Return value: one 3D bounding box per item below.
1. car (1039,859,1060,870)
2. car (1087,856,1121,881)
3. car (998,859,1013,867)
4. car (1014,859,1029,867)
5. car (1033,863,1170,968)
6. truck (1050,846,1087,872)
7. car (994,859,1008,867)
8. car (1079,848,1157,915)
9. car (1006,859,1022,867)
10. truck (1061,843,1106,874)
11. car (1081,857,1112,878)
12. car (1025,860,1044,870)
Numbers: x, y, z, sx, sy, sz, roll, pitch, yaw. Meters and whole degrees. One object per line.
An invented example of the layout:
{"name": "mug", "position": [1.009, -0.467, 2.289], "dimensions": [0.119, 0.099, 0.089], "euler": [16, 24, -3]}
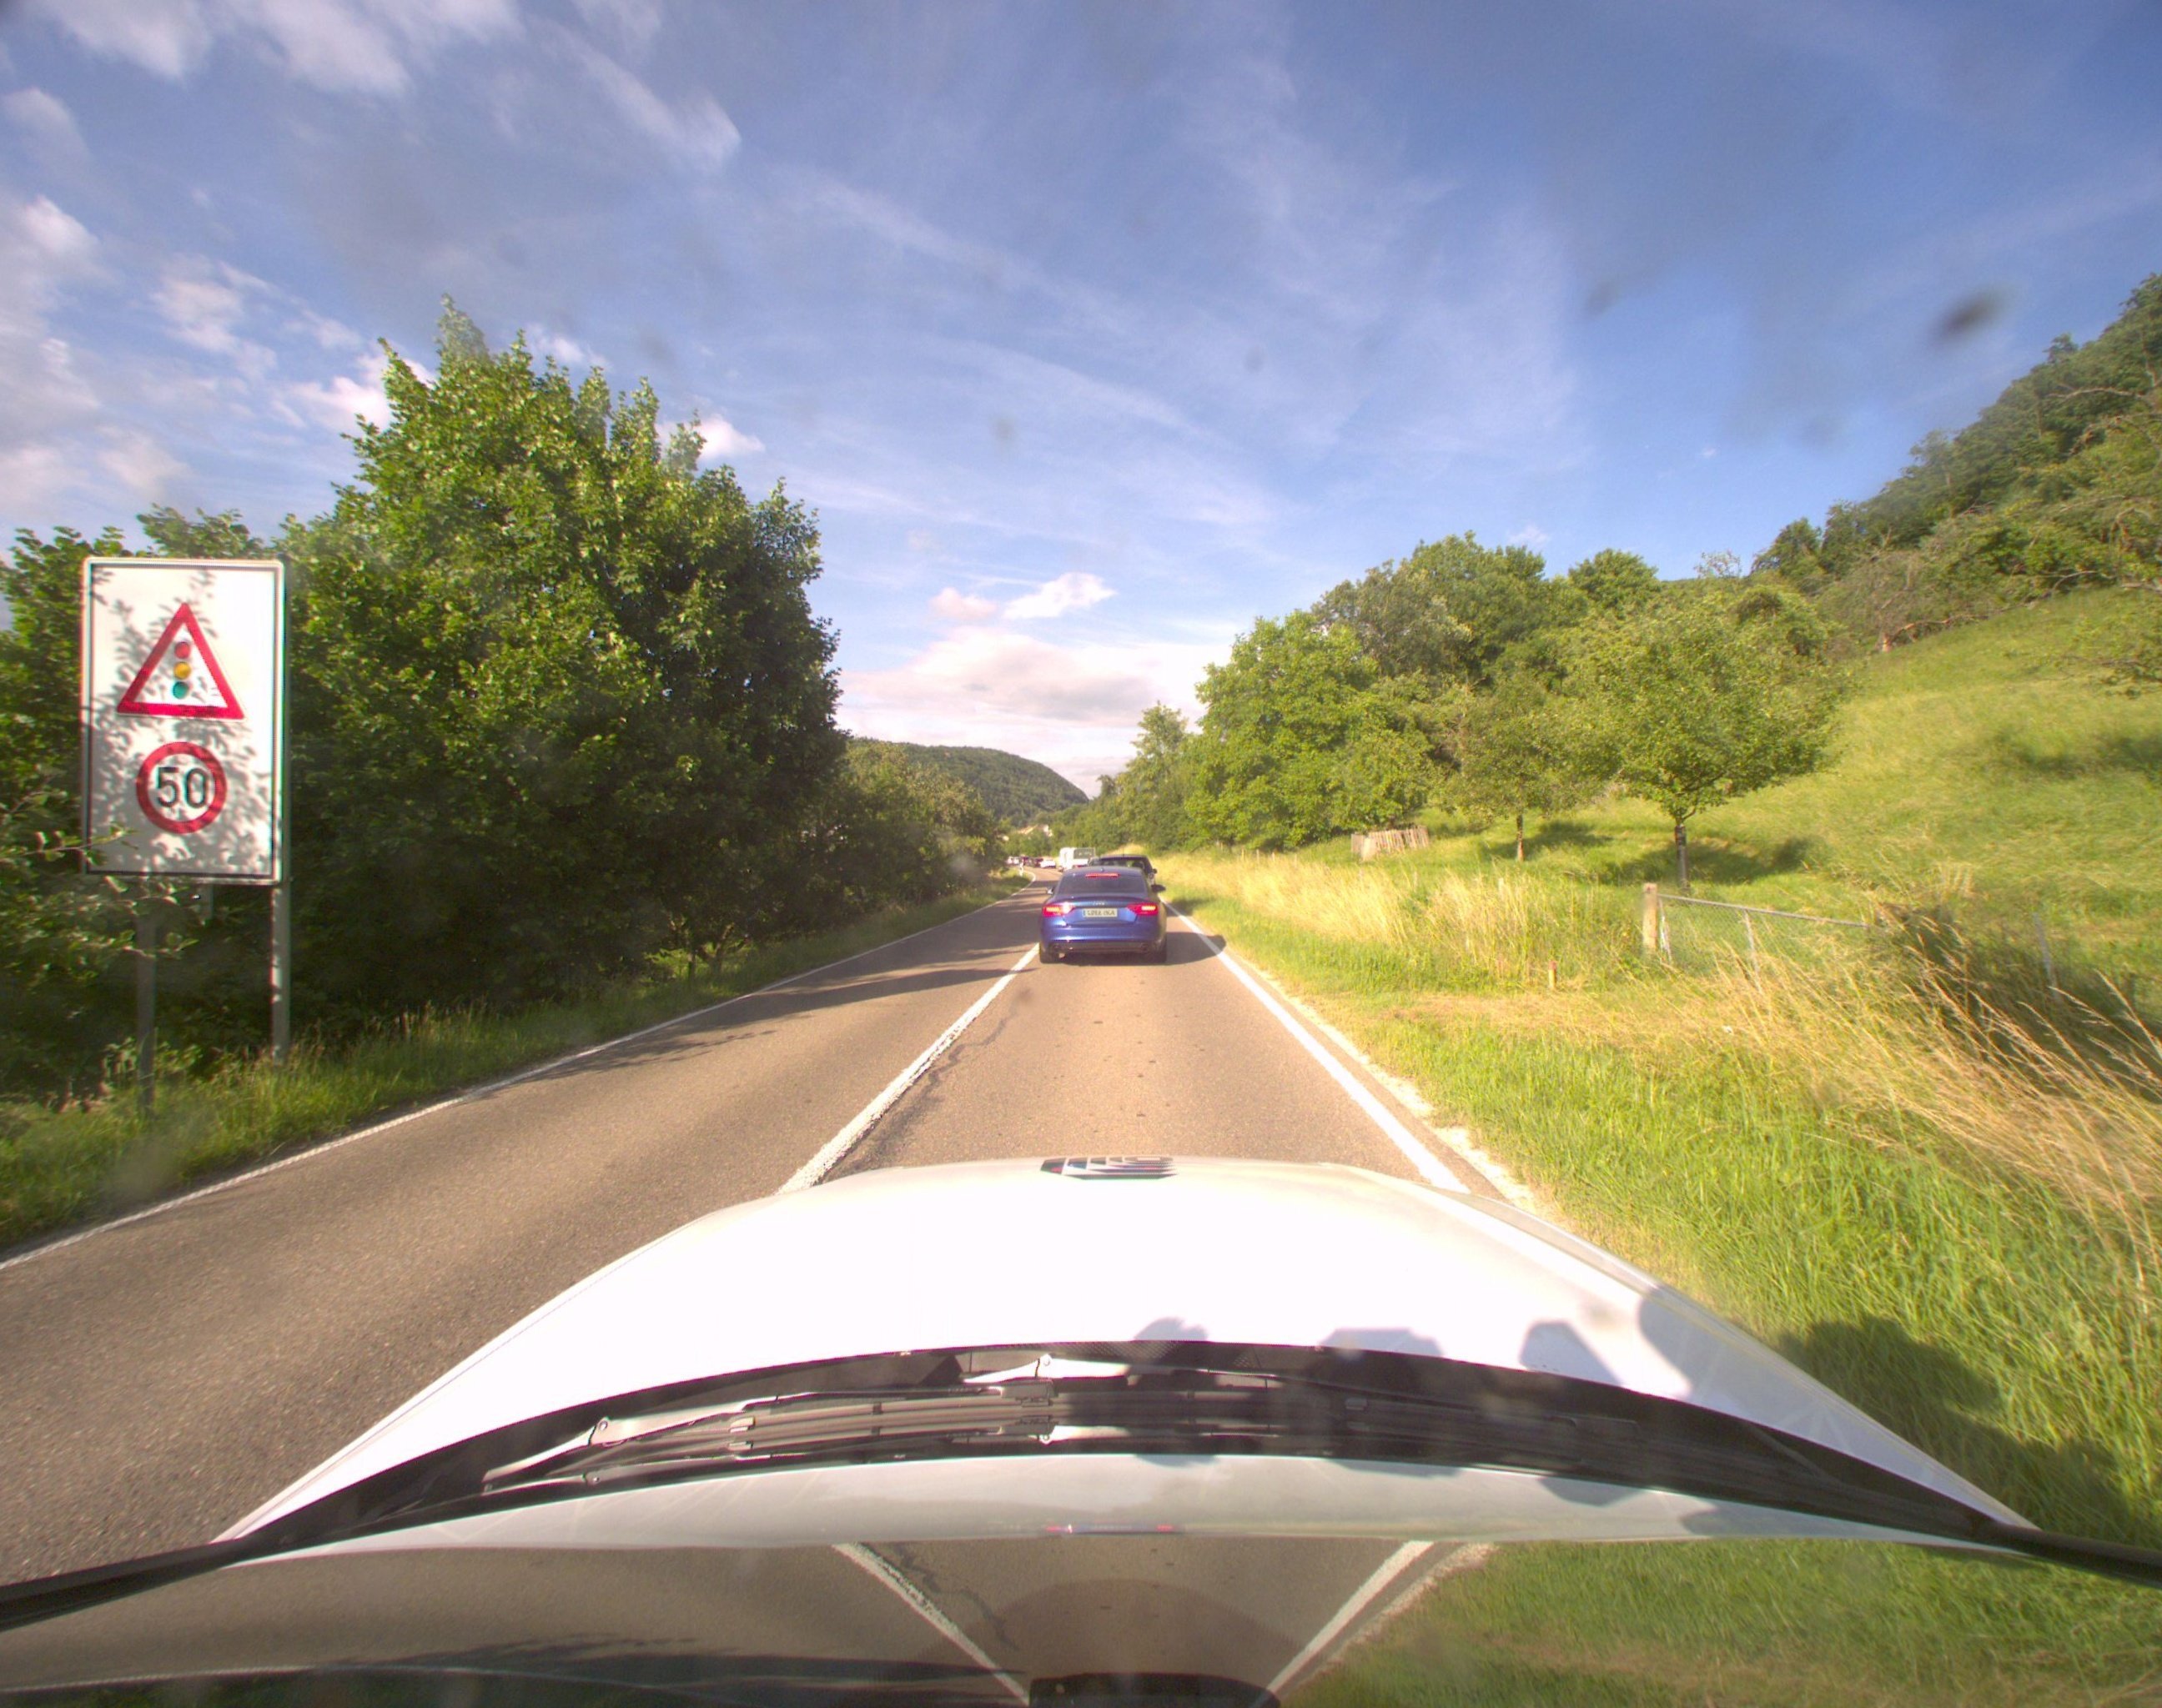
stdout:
{"name": "car", "position": [-4.453, 1.485, 113.694], "dimensions": [1.999, 1.482, 3.976], "euler": [0, -1, -17]}
{"name": "car", "position": [1.455, 0.899, 50.624], "dimensions": [1.985, 1.482, 4.003], "euler": [-1, -1, 3]}
{"name": "car", "position": [-14.550, 1.819, 157.489], "dimensions": [2.000, 1.482, 3.973], "euler": [0, -1, -19]}
{"name": "car", "position": [-10.402, 1.578, 142.600], "dimensions": [1.996, 1.482, 3.981], "euler": [0, -1, -13]}
{"name": "car", "position": [0.406, 0.835, 12.740], "dimensions": [1.786, 1.360, 4.004], "euler": [-1, -1, 4]}
{"name": "truck", "position": [-1.529, 0.574, 90.992], "dimensions": [2.862, 2.665, 10.615], "euler": [0, 0, -8]}
{"name": "car", "position": [-16.554, 1.890, 168.709], "dimensions": [2.000, 1.482, 3.973], "euler": [0, -1, -19]}
{"name": "car", "position": [1.059, 0.727, 23.018], "dimensions": [1.985, 1.702, 4.003], "euler": [-1, -1, 3]}
{"name": "car", "position": [-12.492, 1.738, 151.185], "dimensions": [2.000, 1.482, 3.973], "euler": [0, -1, -19]}
{"name": "truck", "position": [0.065, 0.415, 76.871], "dimensions": [2.862, 2.665, 10.364], "euler": [0, 0, -8]}
{"name": "car", "position": [1.121, 0.989, 61.392], "dimensions": [1.990, 1.482, 3.993], "euler": [-1, -1, -4]}
{"name": "car", "position": [-6.967, 1.590, 121.507], "dimensions": [1.999, 1.482, 3.976], "euler": [0, -1, -17]}
